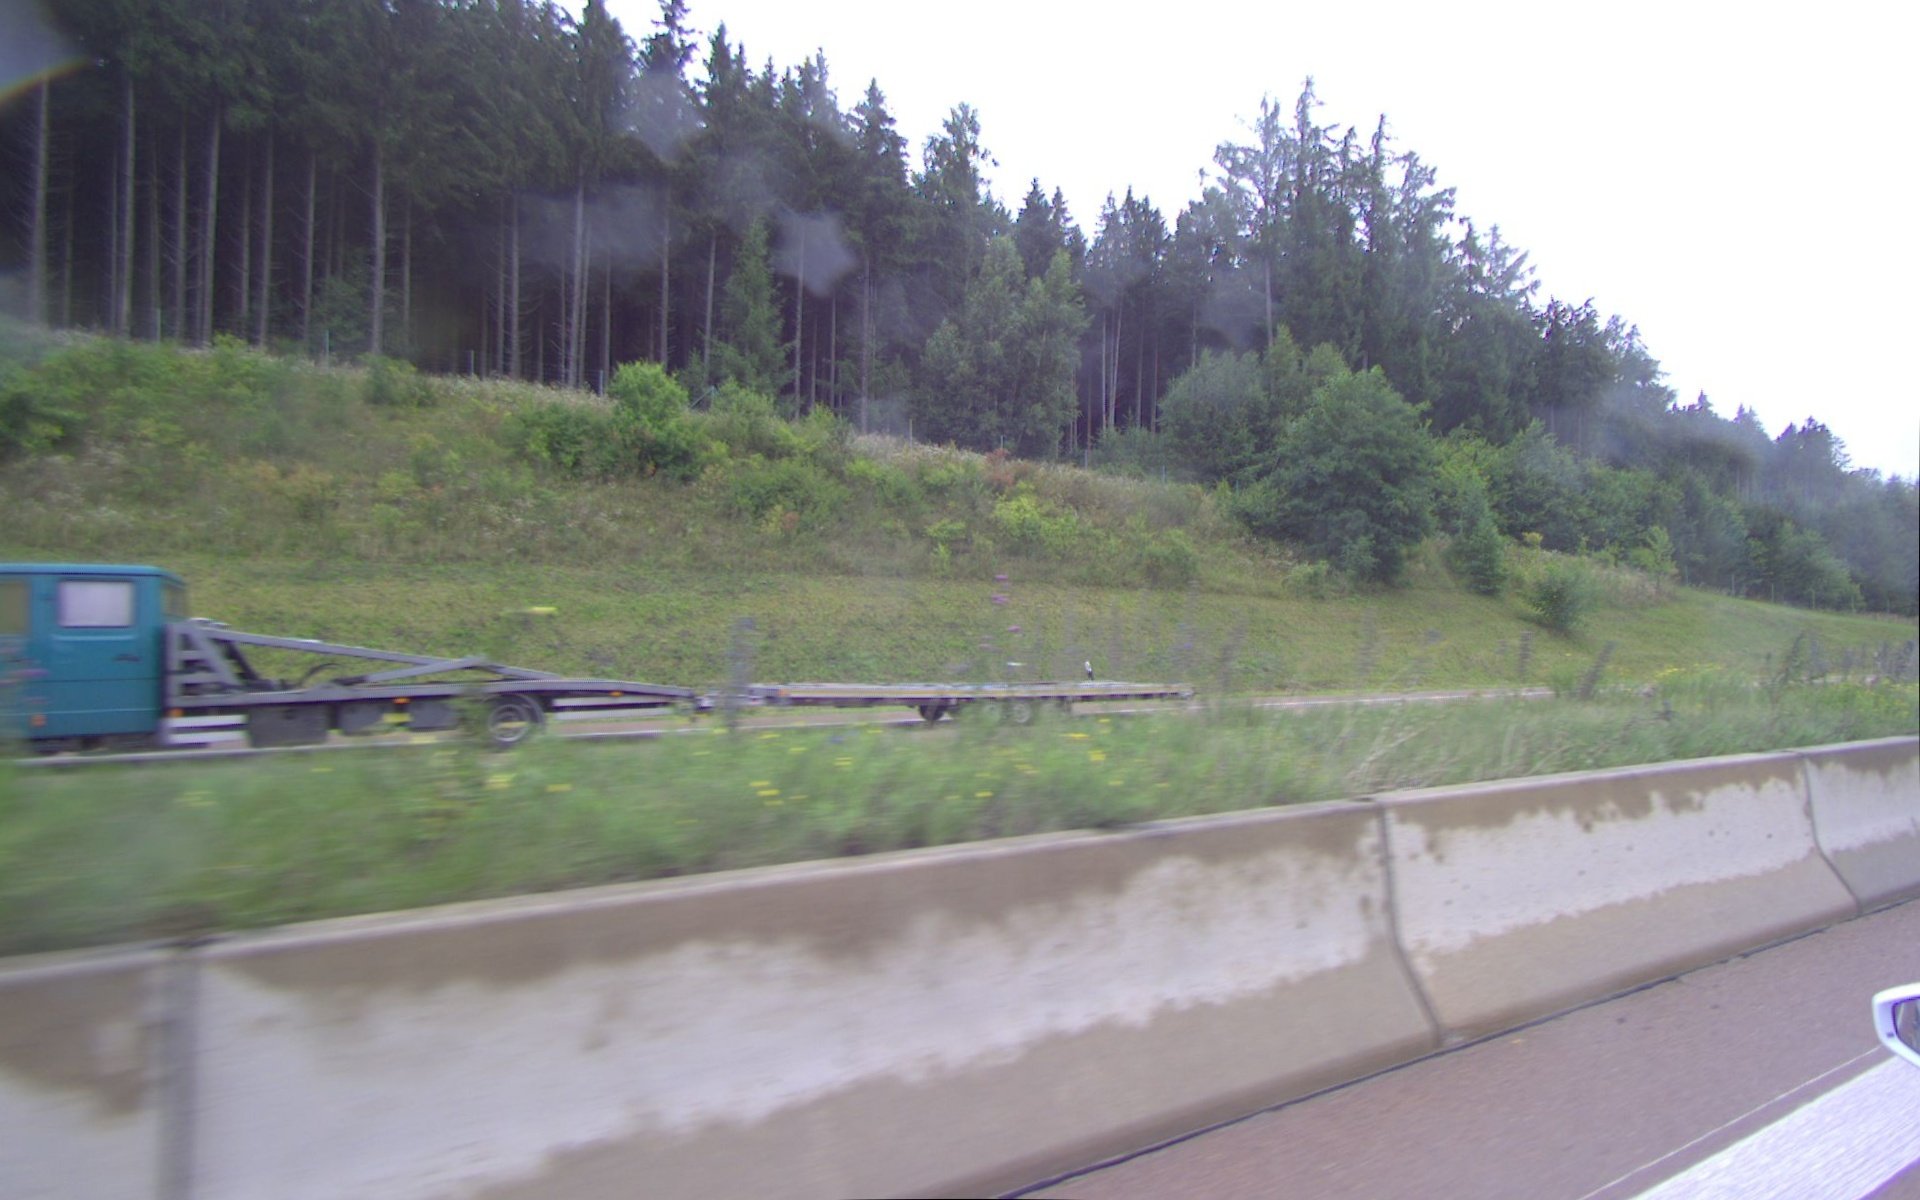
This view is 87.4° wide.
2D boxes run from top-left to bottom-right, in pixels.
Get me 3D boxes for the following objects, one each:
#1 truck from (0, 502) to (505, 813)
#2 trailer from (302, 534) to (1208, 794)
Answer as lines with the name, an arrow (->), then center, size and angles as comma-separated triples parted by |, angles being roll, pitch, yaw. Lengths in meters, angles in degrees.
truck -> -9.319, 0.639, 12.397 | 6.420, 3.214, 2.849 | 3, 0, -31
trailer -> -2.186, 1.015, 16.594 | 14.269, 3.037, 2.824 | 3, -1, -31
